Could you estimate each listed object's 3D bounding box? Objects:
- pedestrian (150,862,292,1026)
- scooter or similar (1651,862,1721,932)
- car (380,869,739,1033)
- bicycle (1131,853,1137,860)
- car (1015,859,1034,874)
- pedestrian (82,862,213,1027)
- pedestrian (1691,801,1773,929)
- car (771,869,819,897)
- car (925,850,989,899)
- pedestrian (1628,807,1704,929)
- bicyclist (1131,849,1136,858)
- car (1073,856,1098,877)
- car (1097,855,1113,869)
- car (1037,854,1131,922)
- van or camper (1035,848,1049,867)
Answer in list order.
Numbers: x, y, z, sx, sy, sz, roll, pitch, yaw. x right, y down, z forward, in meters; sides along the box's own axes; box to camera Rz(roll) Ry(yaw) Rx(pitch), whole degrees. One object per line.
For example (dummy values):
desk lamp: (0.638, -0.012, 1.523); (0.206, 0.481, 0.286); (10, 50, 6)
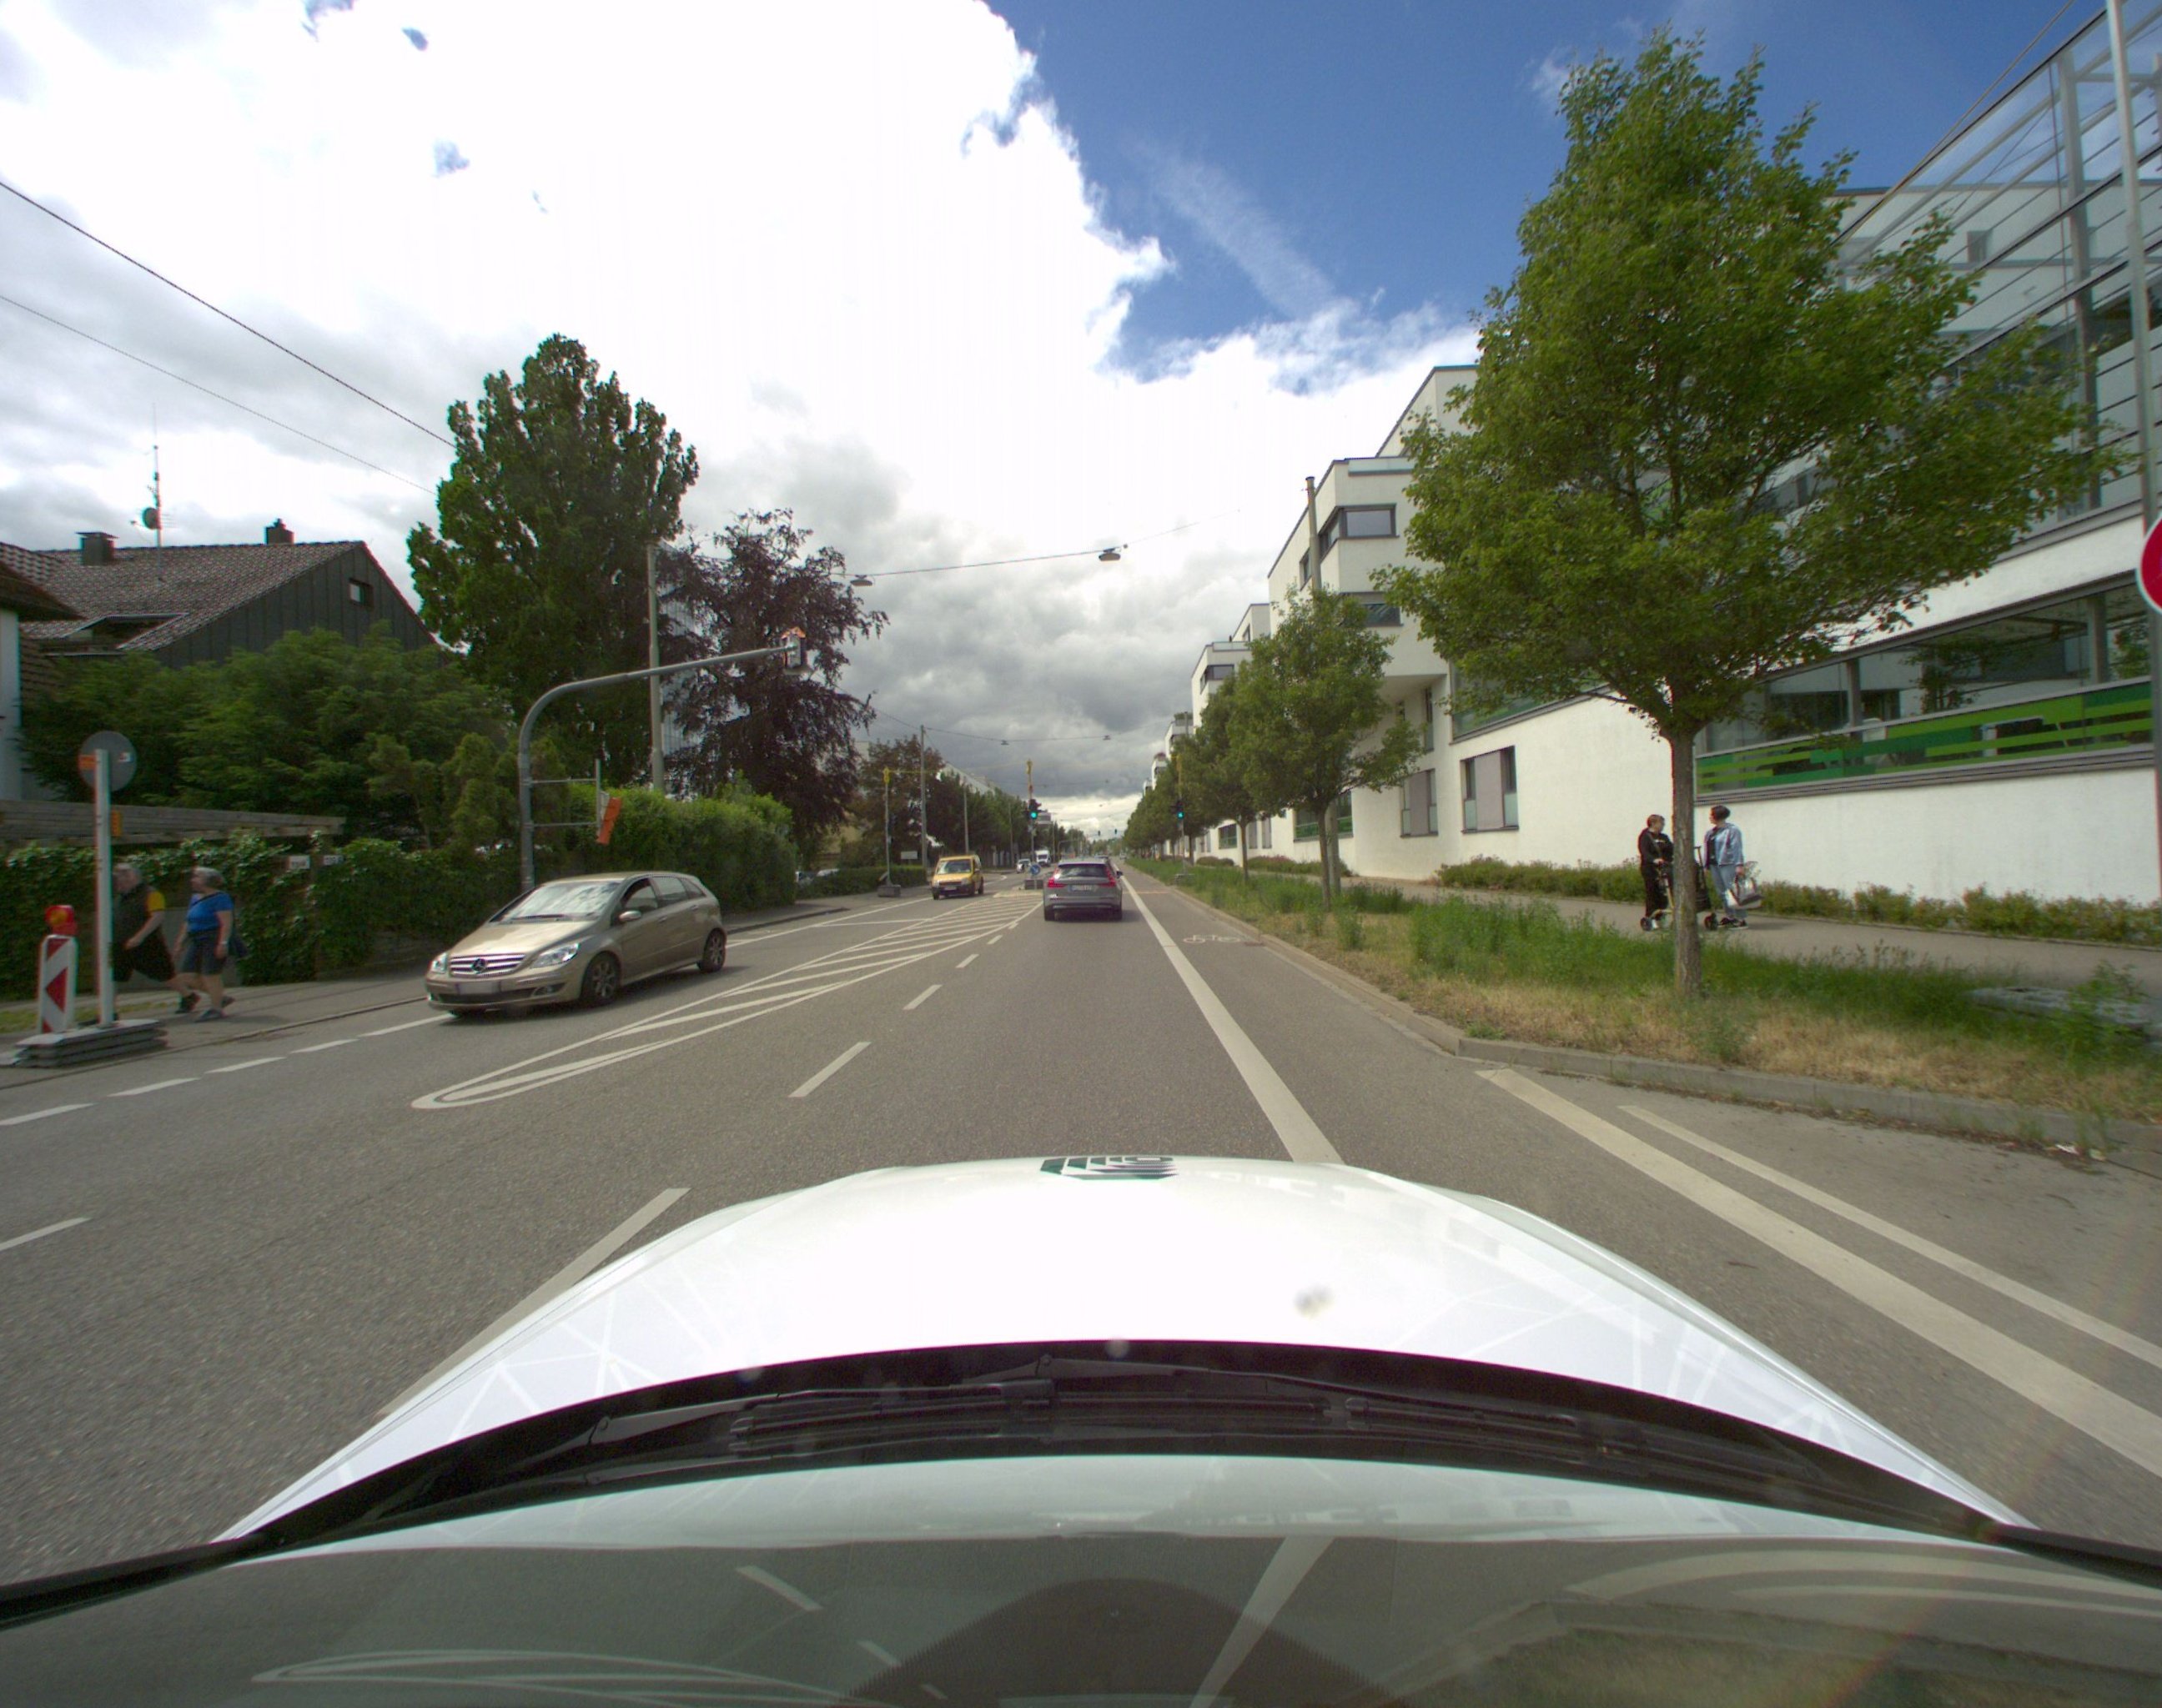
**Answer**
pedestrian: (-10.333, 1.042, 9.820); (0.679, 1.854, 0.893); (-3, -1, 2)
scooter or similar: (8.217, 0.572, 11.081); (0.420, 0.905, 0.682); (-3, 0, 1)
car: (-6.440, 1.063, 10.804); (1.743, 1.555, 4.404); (-3, 0, 2)
bicycle: (11.857, 0.550, 181.916); (1.063, 1.453, 2.978); (-3, 0, 1)
car: (-6.251, 1.395, 89.790); (1.655, 1.515, 4.001); (-2, 0, 1)
pedestrian: (-11.104, 1.042, 9.710); (0.679, 1.854, 0.707); (-3, -1, 2)
pedestrian: (8.812, 0.144, 11.042); (0.548, 1.655, 0.607); (-3, 0, 1)
car: (-17.238, 1.702, 49.264); (1.656, 1.515, 3.435); (-2, 0, 0)
car: (-5.266, 0.828, 35.160); (1.834, 1.904, 4.687); (-3, 0, 1)
pedestrian: (8.242, 0.194, 11.494); (0.603, 1.655, 0.552); (-3, 0, 1)
bicyclist: (11.786, -0.178, 181.902); (1.010, 2.013, 1.131); (-3, 0, 1)
car: (0.360, 0.917, 63.425); (1.848, 1.513, 4.001); (-1, 0, 1)
car: (2.706, 0.904, 92.817); (1.838, 1.513, 4.001); (-1, 0, 1)
car: (0.183, 0.781, 20.452); (1.844, 1.513, 4.008); (-1, 0, 7)
van or camper: (-6.228, 0.544, 129.775); (1.989, 2.734, 6.046); (-3, 0, -3)
